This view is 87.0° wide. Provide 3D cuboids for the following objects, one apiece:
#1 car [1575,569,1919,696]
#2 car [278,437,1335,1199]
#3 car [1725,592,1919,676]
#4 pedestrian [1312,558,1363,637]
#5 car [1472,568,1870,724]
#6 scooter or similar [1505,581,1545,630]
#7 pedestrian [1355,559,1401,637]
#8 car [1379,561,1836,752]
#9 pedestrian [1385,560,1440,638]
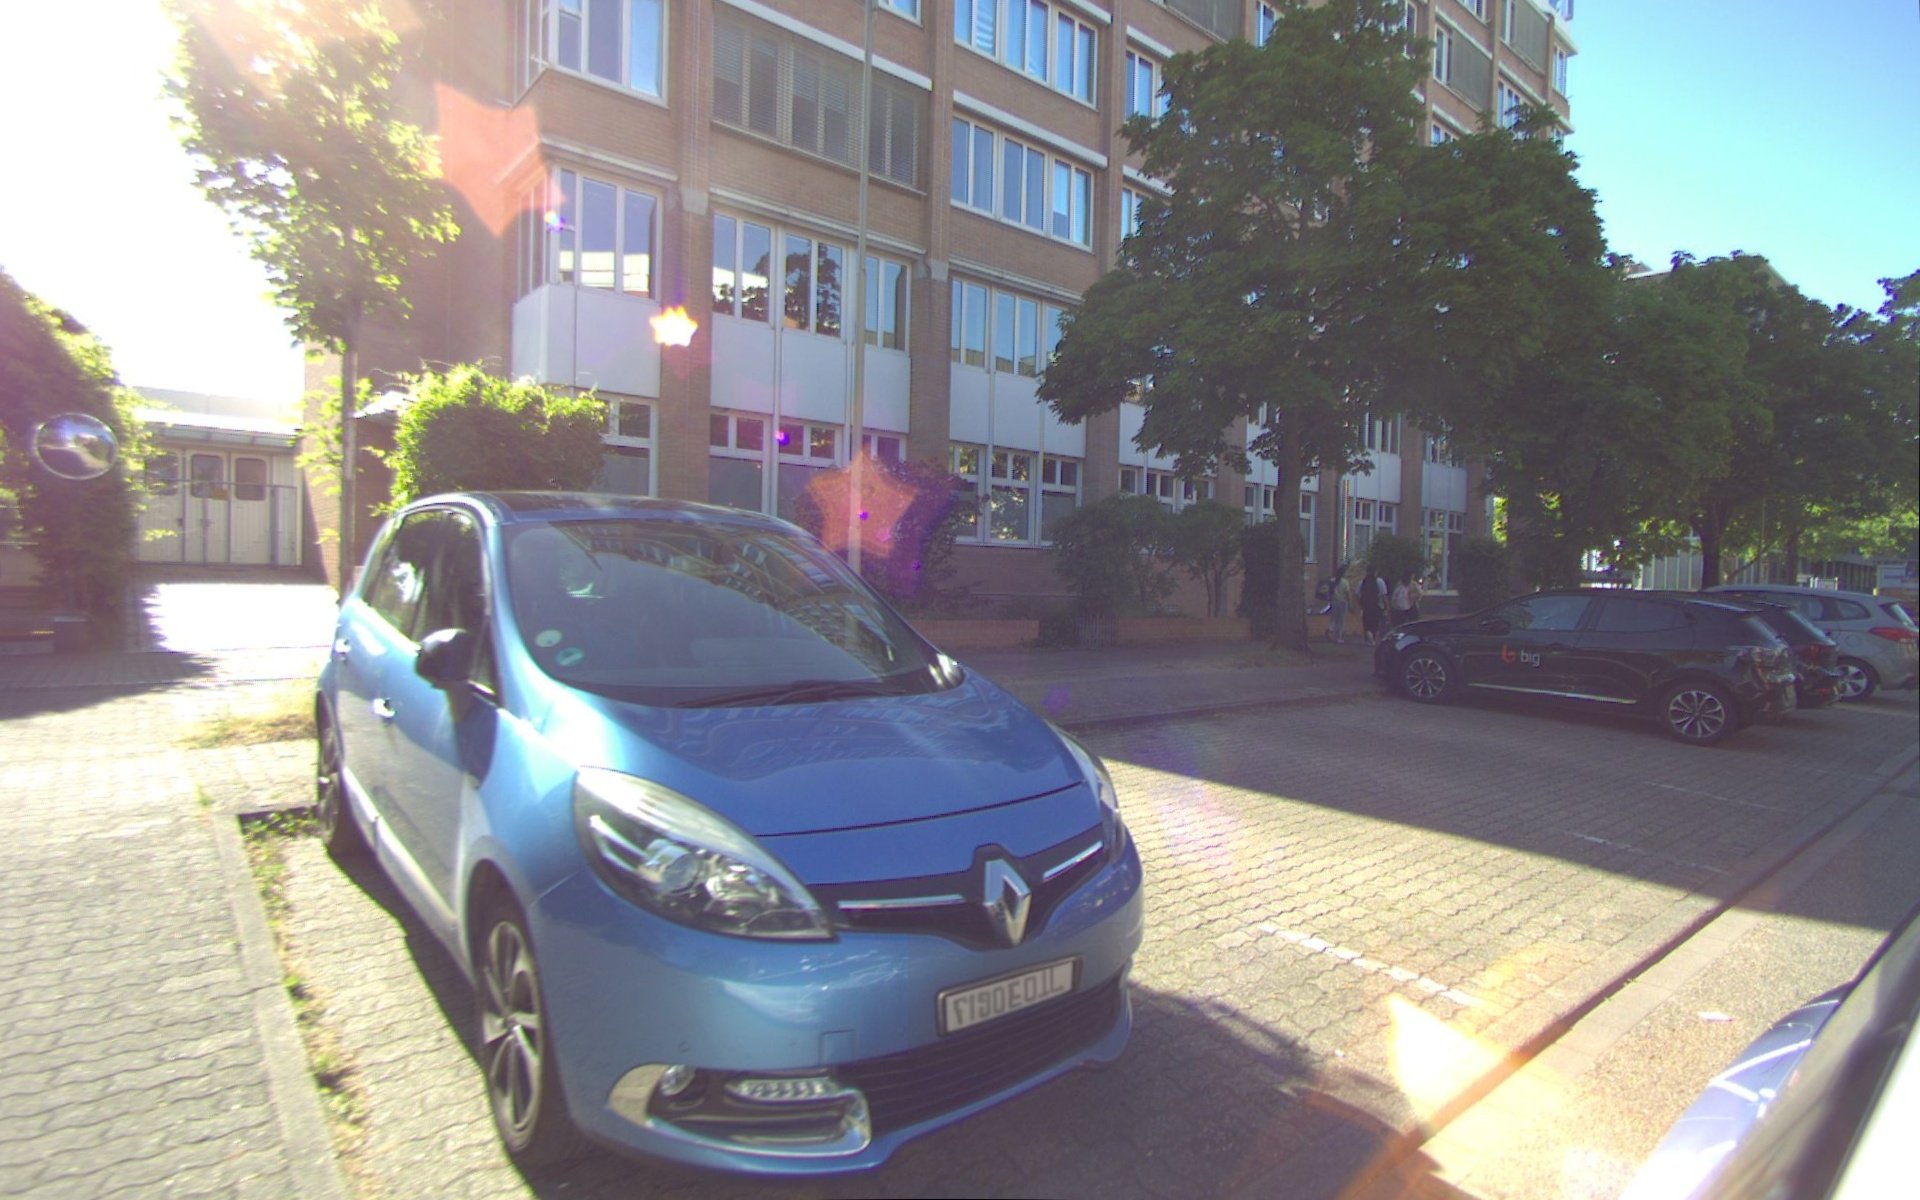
[{"bbox_3d":[12.368,0.402,15.823,4.354,1.617,1.909,4,3,44],"label":"car"},{"bbox_3d":[-1.156,0.380,3.851,1.878,1.637,4.417,1,5,-41],"label":"car"},{"bbox_3d":[17.984,0.653,20.292,1.744,1.457,3.942,0,3,-42],"label":"car"},{"bbox_3d":[7.787,-0.060,20.890,0.549,1.571,0.757,1,2,-43],"label":"pedestrian"},{"bbox_3d":[8.817,0.459,12.765,1.674,1.425,3.804,1,4,-45],"label":"car"},{"bbox_3d":[16.126,0.147,28.884,0.549,1.342,1.777,0,0,44],"label":"scooter or similar"},{"bbox_3d":[8.400,-0.046,20.327,0.584,1.539,0.603,1,2,-43],"label":"pedestrian"},{"bbox_3d":[6.947,0.470,11.145,1.794,1.501,3.853,1,4,-43],"label":"car"},{"bbox_3d":[8.805,-0.027,19.679,0.703,1.476,0.701,1,2,-43],"label":"pedestrian"}]
